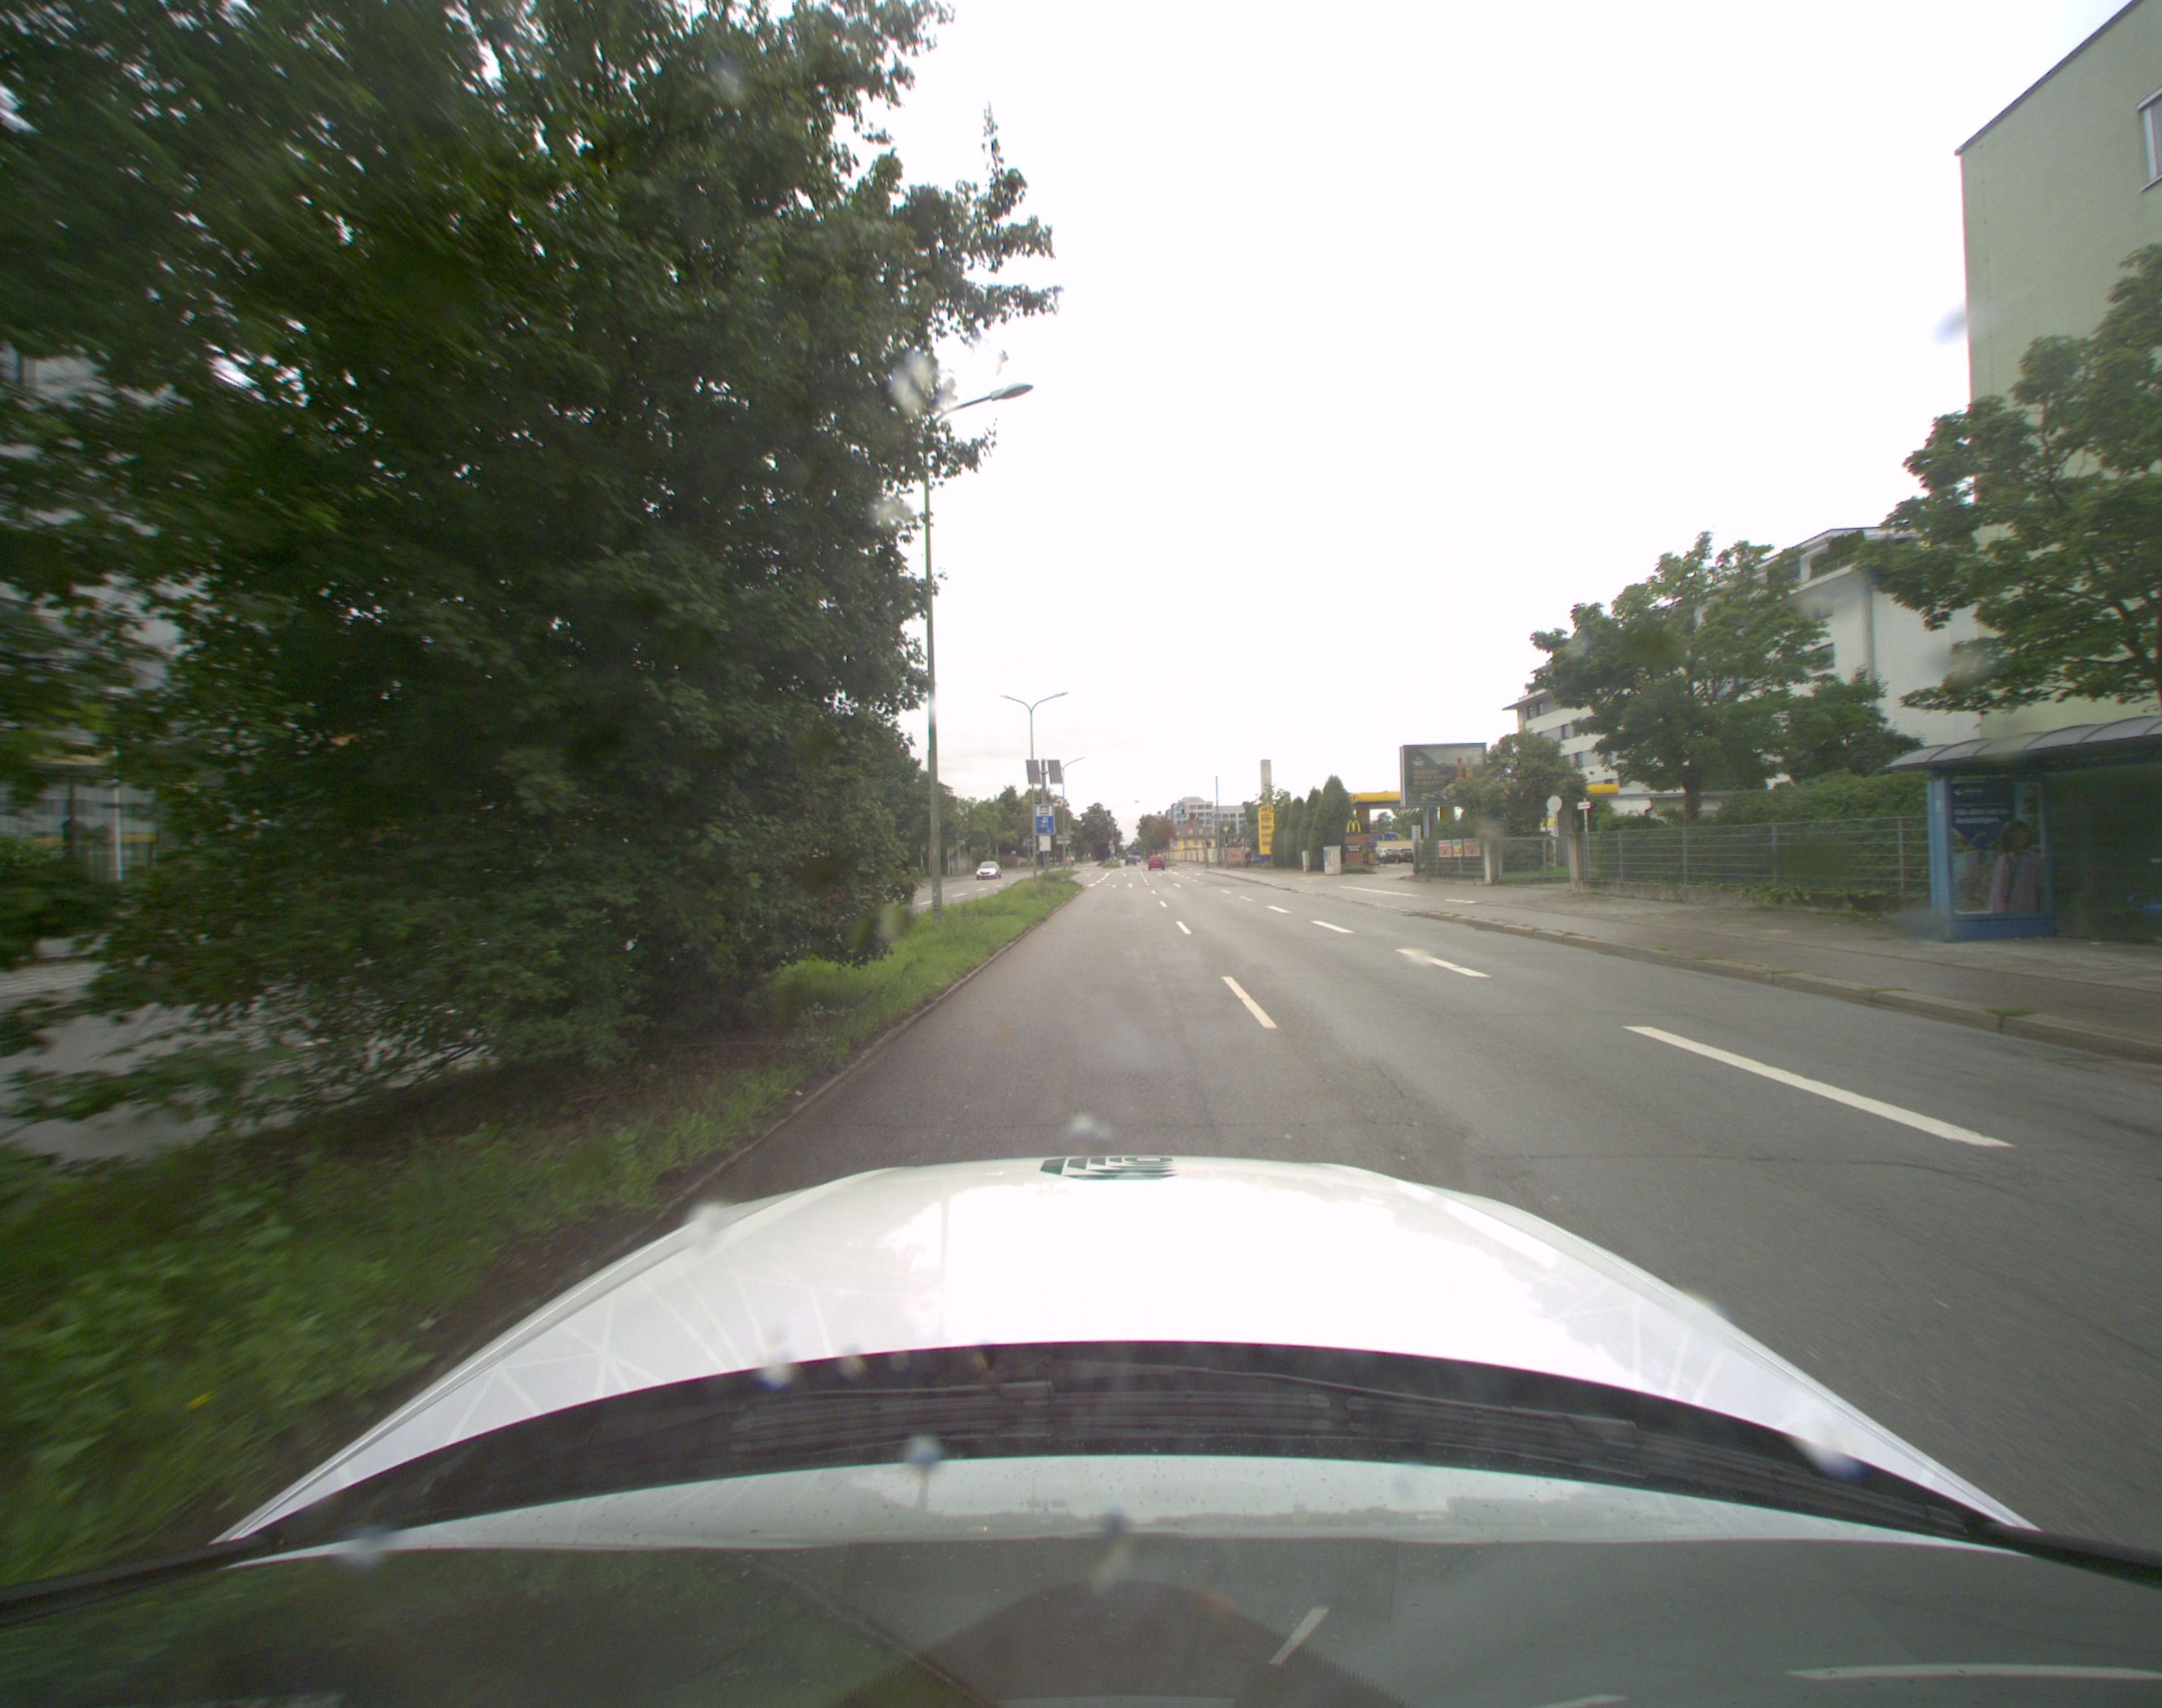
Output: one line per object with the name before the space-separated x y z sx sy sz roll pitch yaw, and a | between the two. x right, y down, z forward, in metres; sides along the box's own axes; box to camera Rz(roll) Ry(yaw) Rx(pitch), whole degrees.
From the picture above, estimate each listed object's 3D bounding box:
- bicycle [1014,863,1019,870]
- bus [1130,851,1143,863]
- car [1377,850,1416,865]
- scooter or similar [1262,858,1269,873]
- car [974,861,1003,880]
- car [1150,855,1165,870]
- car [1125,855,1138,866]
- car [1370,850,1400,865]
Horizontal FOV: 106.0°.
bicycle | -11.306 2.210 143.401 0.580 1.296 2.454 0 -1 1
bus | 15.251 0.869 222.786 3.208 3.127 10.349 0 -1 2
car | 30.262 0.382 78.236 1.697 1.384 4.353 0 -1 -7
scooter or similar | 15.503 0.955 68.276 0.354 1.242 1.548 -4 -1 8
car | -8.256 1.458 73.325 1.806 1.558 4.031 -3 -1 4
car | 8.549 0.960 91.484 1.478 1.716 3.552 0 -1 2
car | 8.556 1.084 139.505 2.076 1.866 4.388 0 -1 2
car | 31.331 0.351 84.022 1.617 1.486 3.979 0 -1 1
